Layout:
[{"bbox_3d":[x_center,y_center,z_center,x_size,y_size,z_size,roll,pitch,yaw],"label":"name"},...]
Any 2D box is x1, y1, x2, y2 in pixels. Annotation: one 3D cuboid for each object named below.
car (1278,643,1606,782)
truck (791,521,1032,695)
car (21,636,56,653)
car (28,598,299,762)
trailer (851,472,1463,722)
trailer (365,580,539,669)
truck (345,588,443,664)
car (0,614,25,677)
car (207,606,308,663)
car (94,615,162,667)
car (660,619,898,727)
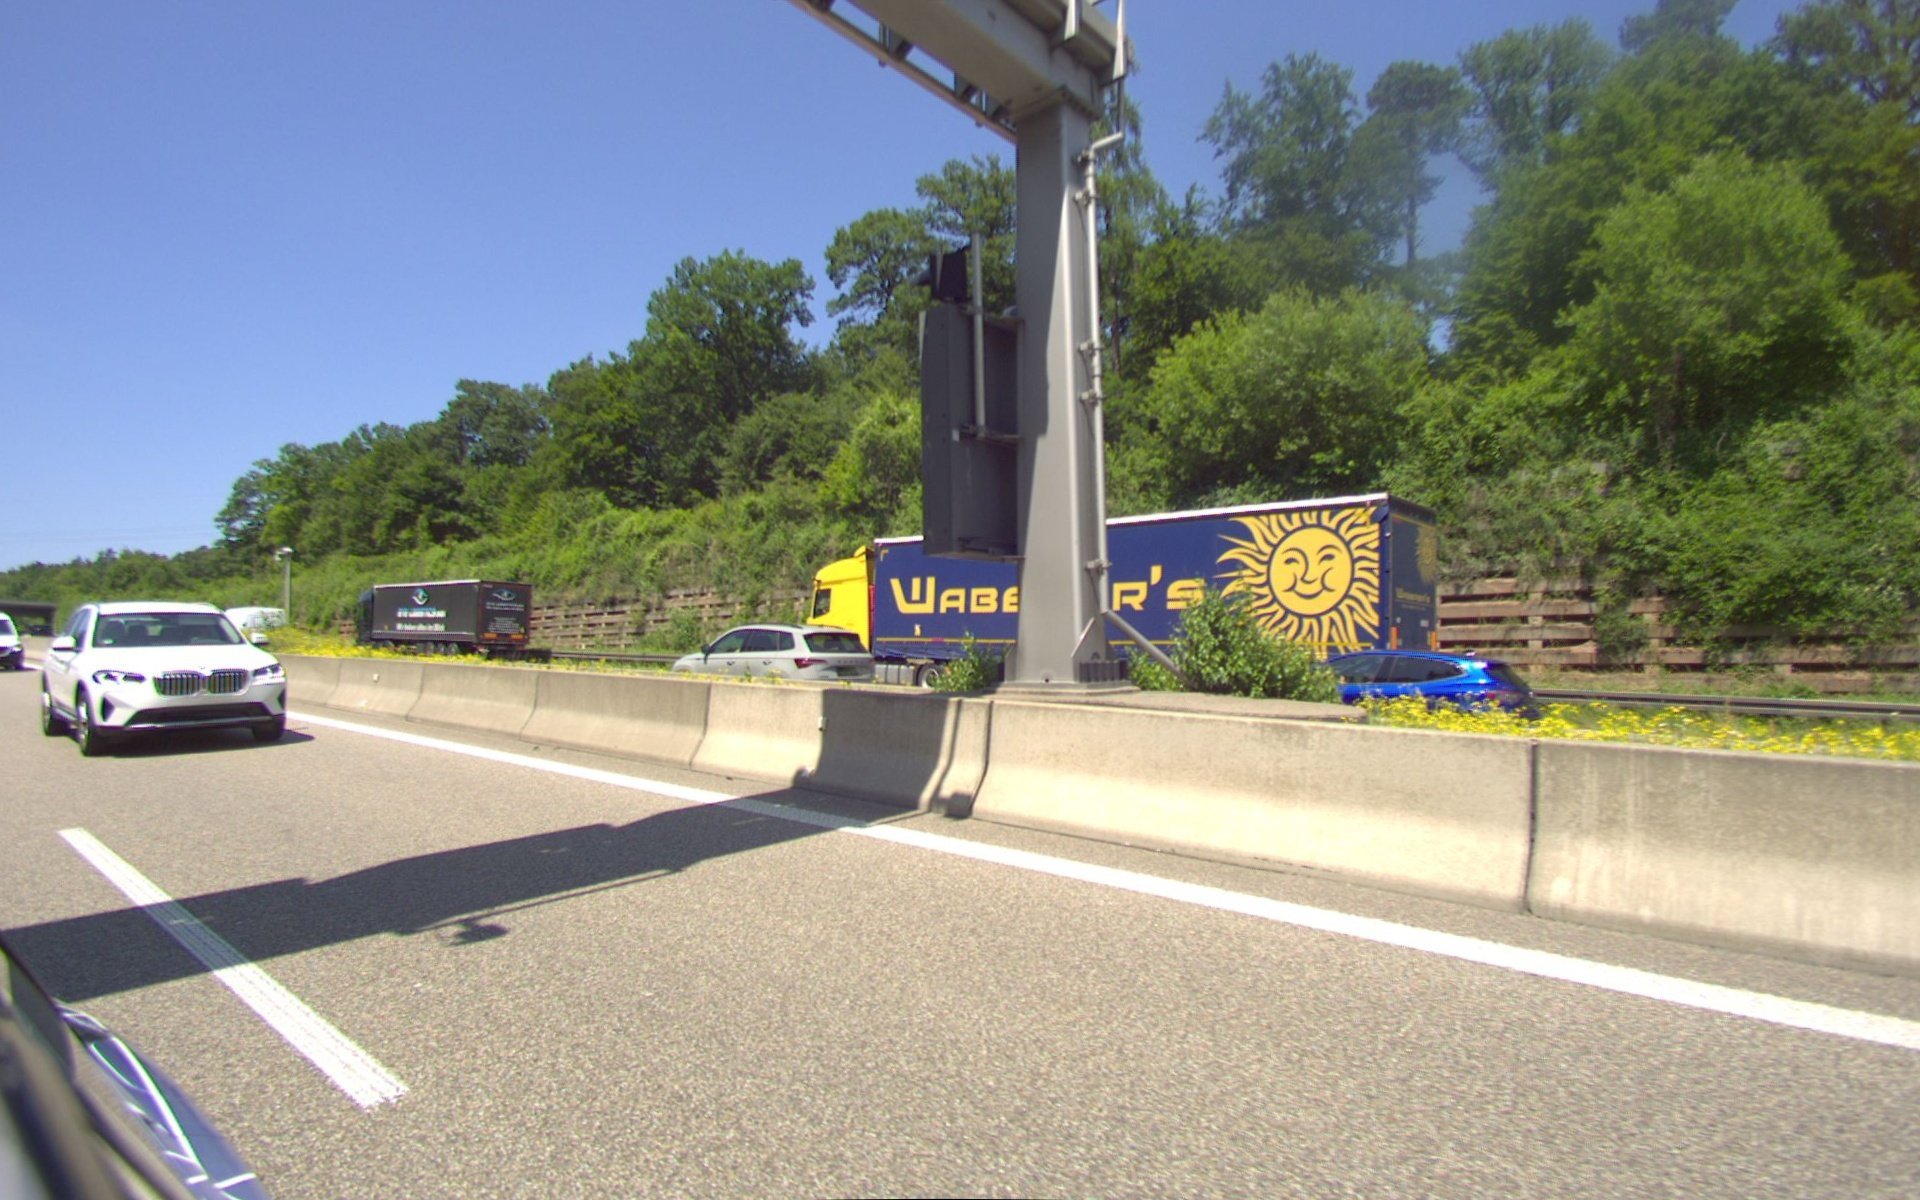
[{"bbox_3d":[6.121,1.336,13.074,3.547,1.547,1.500,-2,-4,41],"label":"car"},{"bbox_3d":[-1.453,0.329,27.844,6.458,4.234,2.918,-2,-4,43],"label":"truck"},{"bbox_3d":[-90.597,4.349,99.486,4.654,1.617,1.919,-2,-4,41],"label":"car"},{"bbox_3d":[-9.845,0.868,12.381,4.366,1.656,1.826,-2,-1,41],"label":"car"},{"bbox_3d":[3.344,0.180,23.212,14.468,4.239,2.945,-2,-4,44],"label":"trailer"},{"bbox_3d":[-26.692,1.340,52.631,13.988,4.132,2.946,-2,-4,41],"label":"trailer"},{"bbox_3d":[-32.180,1.516,57.435,5.865,4.090,2.903,-2,-4,41],"label":"truck"},{"bbox_3d":[-29.709,1.373,30.431,4.501,1.788,1.972,-2,0,43],"label":"car"},{"bbox_3d":[-34.976,1.738,50.322,5.680,2.694,2.725,-2,-4,41],"label":"car"},{"bbox_3d":[-44.745,2.196,54.415,4.843,2.694,1.977,-2,-4,41],"label":"car"},{"bbox_3d":[-3.162,1.184,17.293,4.114,1.617,1.824,-2,-4,41],"label":"car"}]
